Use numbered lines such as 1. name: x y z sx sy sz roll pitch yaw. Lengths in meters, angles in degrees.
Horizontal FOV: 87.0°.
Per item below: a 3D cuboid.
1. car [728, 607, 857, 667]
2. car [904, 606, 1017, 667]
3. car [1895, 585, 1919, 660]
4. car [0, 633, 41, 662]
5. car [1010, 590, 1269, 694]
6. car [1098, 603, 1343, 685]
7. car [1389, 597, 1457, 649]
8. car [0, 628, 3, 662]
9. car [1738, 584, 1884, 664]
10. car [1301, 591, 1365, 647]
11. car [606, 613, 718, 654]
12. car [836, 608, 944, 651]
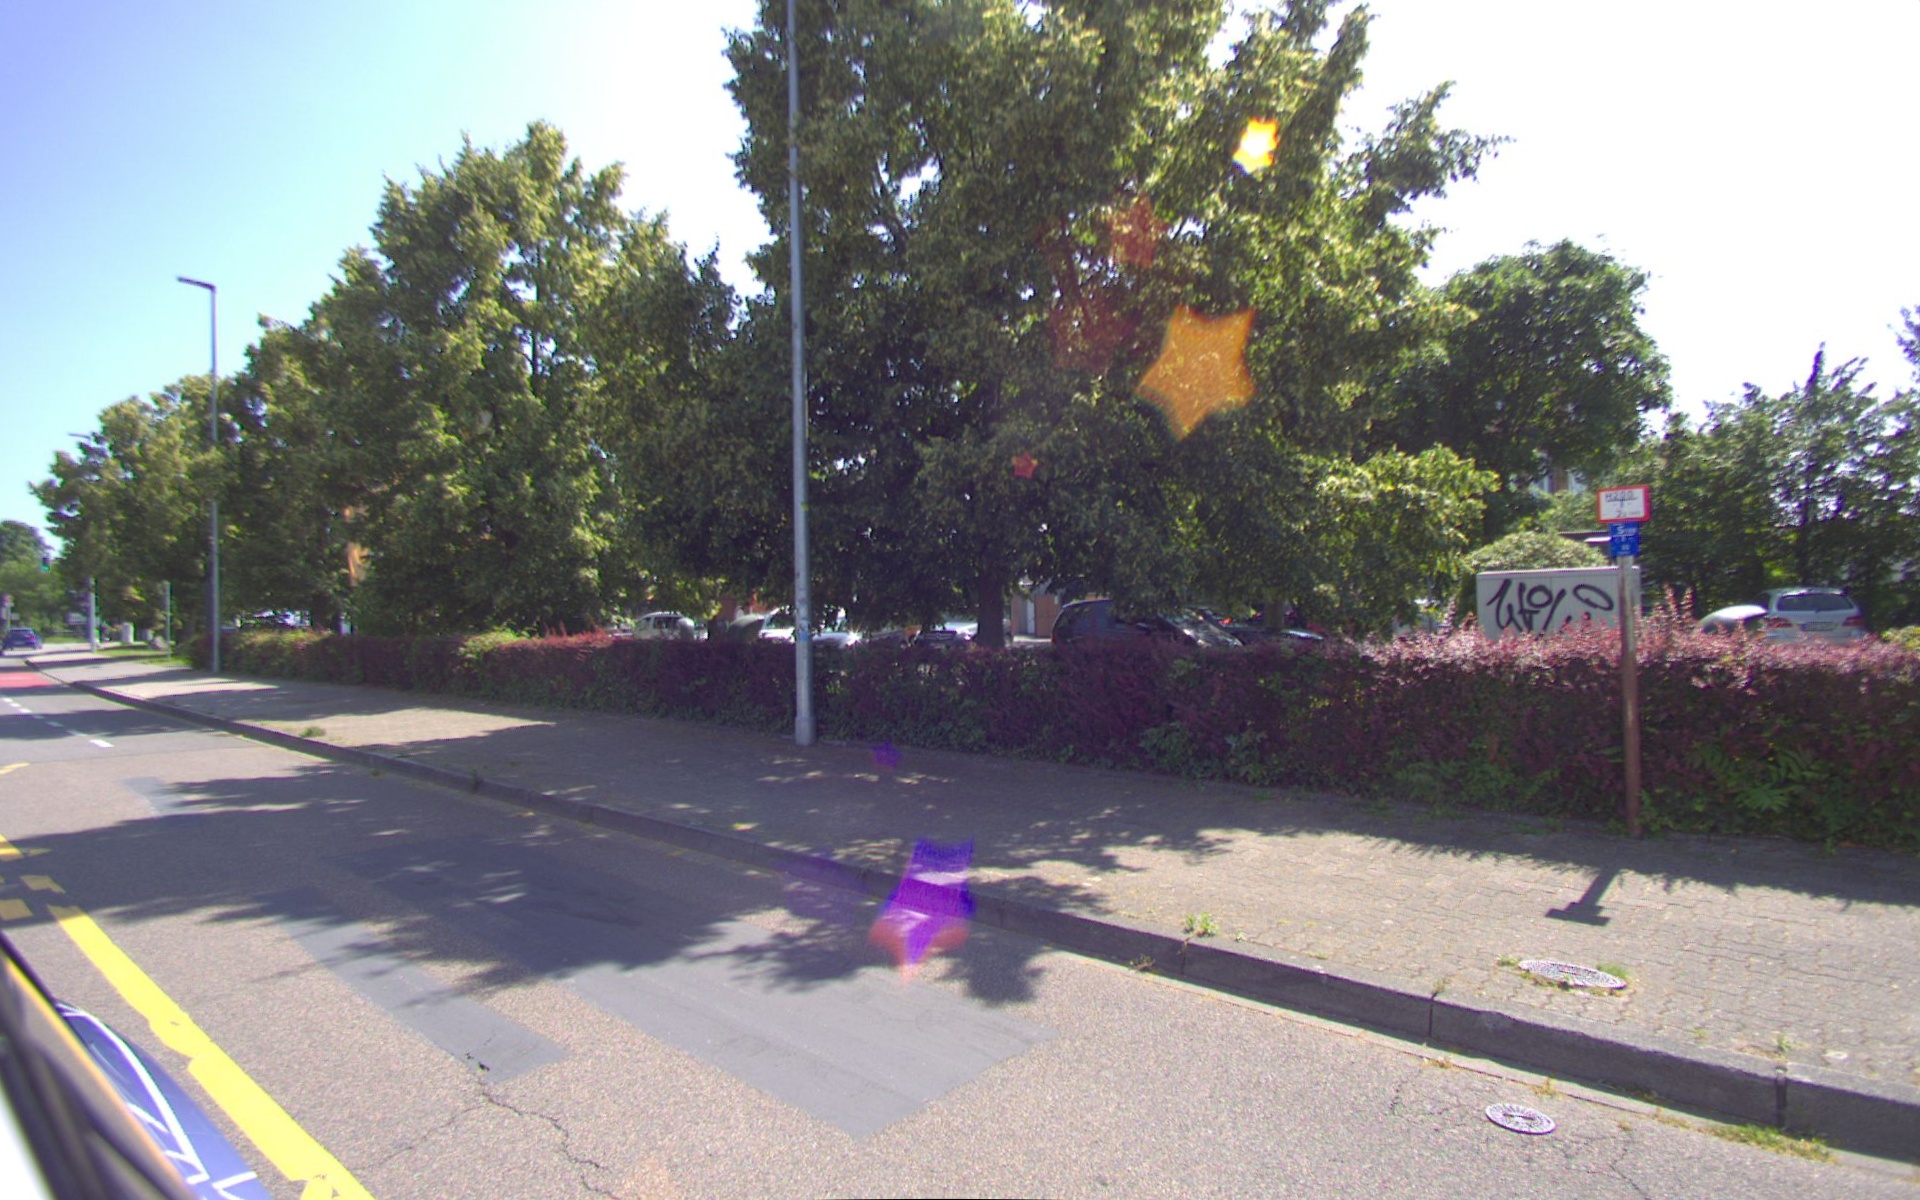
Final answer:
1. car: -5.041 1.093 31.103 1.851 1.698 4.276 -1 -1 25
2. car: 0.112 1.040 30.603 1.851 1.698 4.332 -1 -1 23
3. car: 20.035 0.454 19.785 1.768 1.481 3.957 -3 0 32
4. car: -58.761 2.926 62.981 4.529 1.657 1.971 -2 -2 44
5. car: 3.210 0.762 18.620 4.362 1.699 1.838 -2 -3 39
6. car: 5.101 0.857 20.153 4.362 1.464 1.838 -2 -3 39
7. car: 14.860 0.703 32.616 1.762 1.487 3.970 -3 0 22
8. car: -49.019 2.248 50.362 1.970 1.657 4.532 1 -2 -43
9. car: 18.815 0.482 22.560 1.767 1.584 3.959 -2 0 30
10. car: 13.223 0.625 35.769 1.763 1.747 3.968 -4 -1 24
11. car: -12.030 1.342 40.851 4.119 1.564 1.904 -1 -1 26
12. car: -3.067 1.297 44.015 4.346 1.698 1.845 -1 1 28
